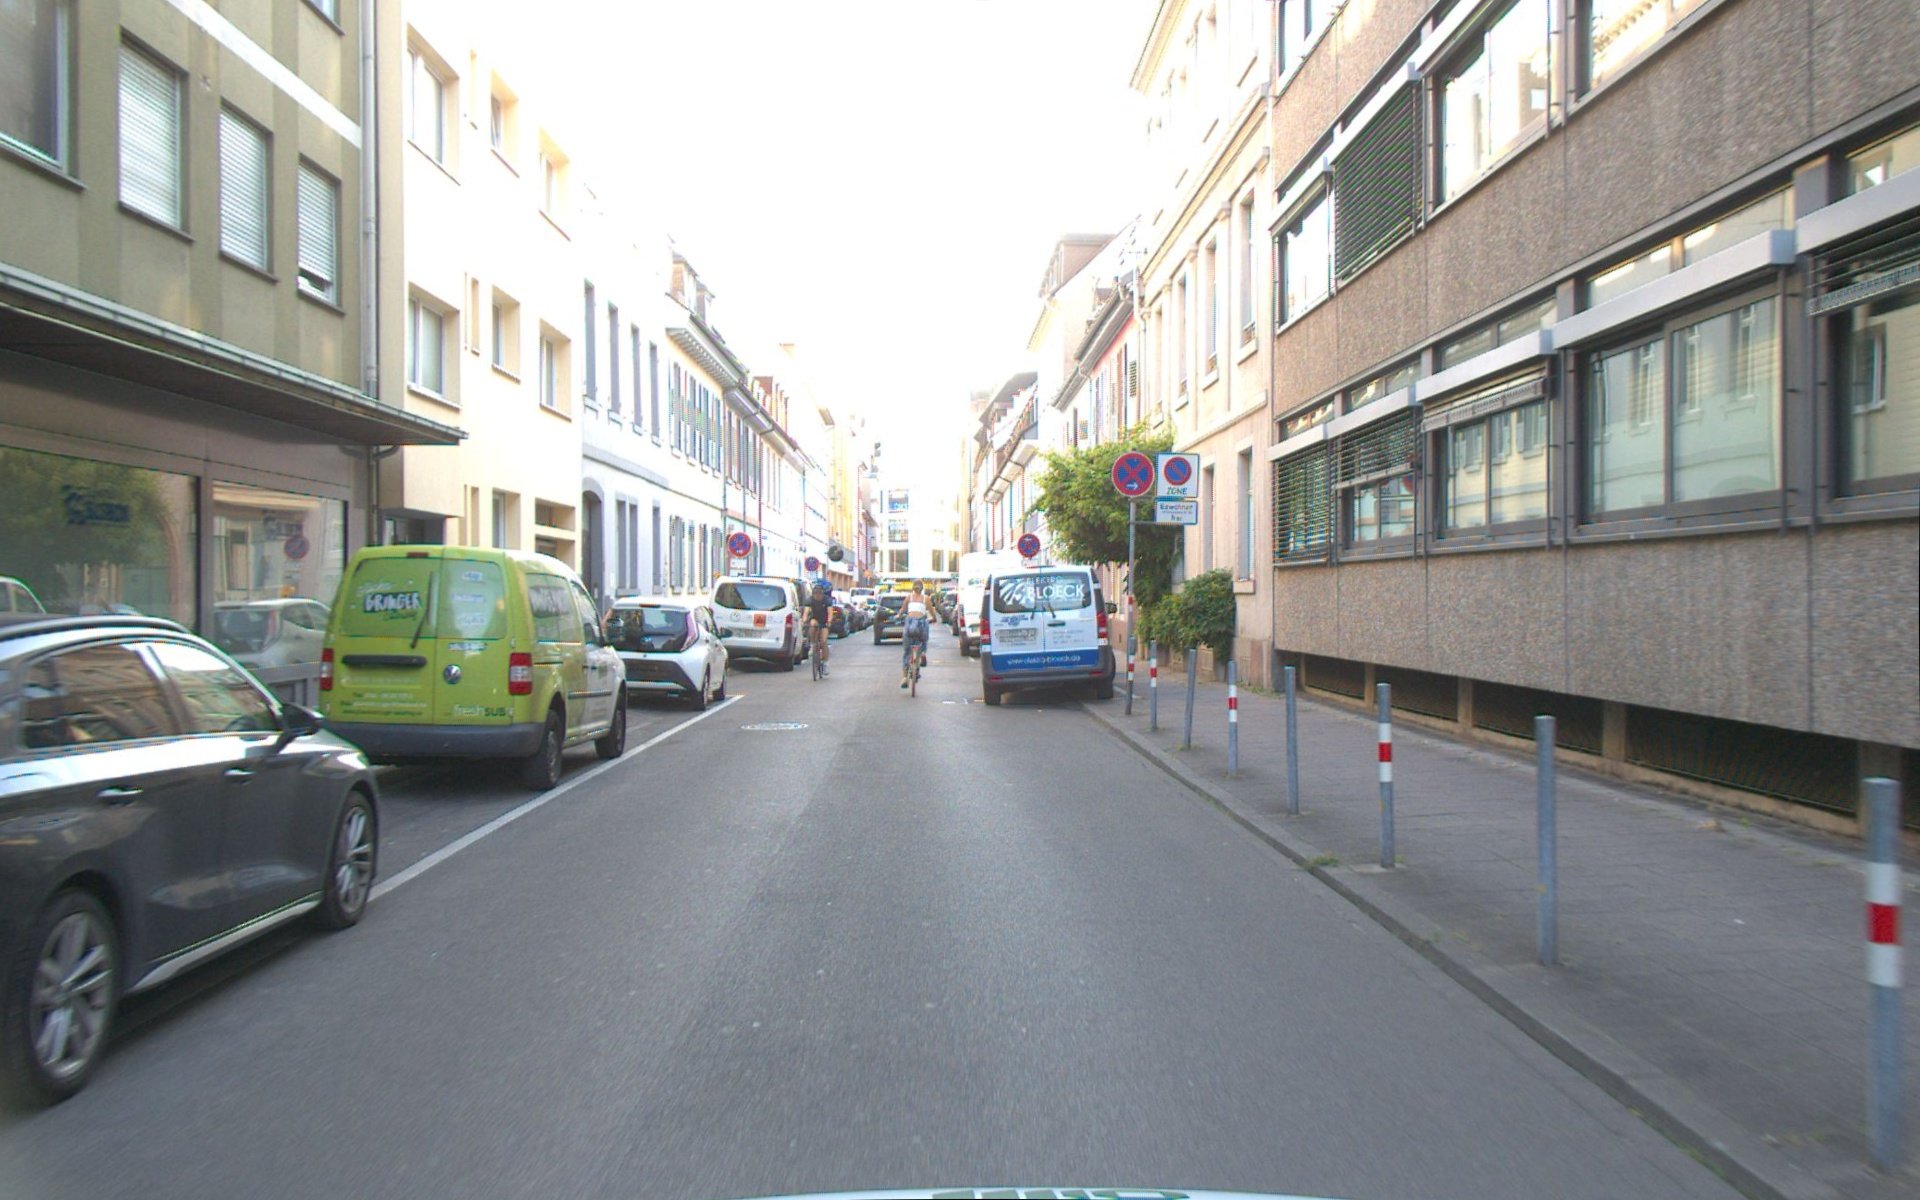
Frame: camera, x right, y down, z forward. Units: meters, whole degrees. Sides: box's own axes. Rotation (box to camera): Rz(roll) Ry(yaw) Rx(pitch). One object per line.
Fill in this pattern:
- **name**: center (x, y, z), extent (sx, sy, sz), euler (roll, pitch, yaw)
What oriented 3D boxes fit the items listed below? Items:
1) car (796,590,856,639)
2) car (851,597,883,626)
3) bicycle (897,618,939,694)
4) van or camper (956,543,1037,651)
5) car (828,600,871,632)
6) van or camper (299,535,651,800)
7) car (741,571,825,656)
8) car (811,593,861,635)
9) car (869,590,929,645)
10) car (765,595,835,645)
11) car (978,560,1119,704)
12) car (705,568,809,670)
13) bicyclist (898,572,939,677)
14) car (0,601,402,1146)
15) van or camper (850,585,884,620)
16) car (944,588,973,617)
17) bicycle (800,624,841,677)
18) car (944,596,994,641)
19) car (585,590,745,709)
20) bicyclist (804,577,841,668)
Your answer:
- **car**: center (-4.842, 0.504, 60.153), extent (1.766, 1.706, 4.490), euler (0, 0, 0)
- **car**: center (-5.285, 0.621, 94.418), extent (1.620, 1.588, 3.605), euler (1, 0, -1)
- **bicycle**: center (-0.629, 0.838, 25.356), extent (0.601, 1.101, 1.809), euler (0, 0, 0)
- **van or camper**: center (0.910, -0.084, 45.056), extent (2.008, 2.684, 7.062), euler (-1, 0, 0)
- **car**: center (-5.165, 0.726, 77.638), extent (1.880, 1.459, 4.291), euler (1, 0, -3)
- **van or camper**: center (-3.877, 0.483, 13.986), extent (1.736, 1.880, 4.178), euler (-1, 0, 0)
- **car**: center (-4.524, 0.324, 42.872), extent (1.825, 2.049, 4.811), euler (-1, 0, -2)
- **car**: center (-5.307, 0.578, 71.399), extent (1.958, 1.737, 4.533), euler (1, 0, -2)
- **car**: center (-1.904, 0.524, 52.411), extent (1.782, 1.646, 3.999), euler (1, 0, -2)
- **car**: center (-4.767, 0.577, 49.647), extent (1.729, 1.426, 4.262), euler (0, 0, -1)
- **car**: center (1.241, 0.433, 25.132), extent (1.896, 1.931, 5.277), euler (-1, 0, 1)
- **car**: center (-4.356, 0.380, 36.201), extent (1.825, 2.049, 5.103), euler (-1, 0, -2)
- **bicyclist**: center (-0.633, 0.370, 25.431), extent (0.608, 1.602, 0.683), euler (0, 0, 0)
- **car**: center (-3.406, 0.726, 5.944), extent (1.591, 1.440, 3.978), euler (0, 0, -3)
- **van or camper**: center (-5.611, 0.135, 100.260), extent (1.807, 2.048, 4.677), euler (1, 0, -1)
- **car**: center (-0.118, 0.158, 94.867), extent (1.620, 1.588, 3.605), euler (1, 0, -1)
- **bicycle**: center (-2.597, 0.931, 30.938), extent (0.621, 0.938, 1.779), euler (0, 0, -1)
- **car**: center (0.350, 0.708, 65.108), extent (1.782, 1.556, 5.071), euler (-4, 0, 0)
- **car**: center (-4.076, 0.647, 23.330), extent (1.628, 1.474, 3.519), euler (3, 0, -1)
- **bicyclist**: center (-2.564, 0.414, 30.962), extent (0.610, 1.668, 1.081), euler (0, 0, -1)
